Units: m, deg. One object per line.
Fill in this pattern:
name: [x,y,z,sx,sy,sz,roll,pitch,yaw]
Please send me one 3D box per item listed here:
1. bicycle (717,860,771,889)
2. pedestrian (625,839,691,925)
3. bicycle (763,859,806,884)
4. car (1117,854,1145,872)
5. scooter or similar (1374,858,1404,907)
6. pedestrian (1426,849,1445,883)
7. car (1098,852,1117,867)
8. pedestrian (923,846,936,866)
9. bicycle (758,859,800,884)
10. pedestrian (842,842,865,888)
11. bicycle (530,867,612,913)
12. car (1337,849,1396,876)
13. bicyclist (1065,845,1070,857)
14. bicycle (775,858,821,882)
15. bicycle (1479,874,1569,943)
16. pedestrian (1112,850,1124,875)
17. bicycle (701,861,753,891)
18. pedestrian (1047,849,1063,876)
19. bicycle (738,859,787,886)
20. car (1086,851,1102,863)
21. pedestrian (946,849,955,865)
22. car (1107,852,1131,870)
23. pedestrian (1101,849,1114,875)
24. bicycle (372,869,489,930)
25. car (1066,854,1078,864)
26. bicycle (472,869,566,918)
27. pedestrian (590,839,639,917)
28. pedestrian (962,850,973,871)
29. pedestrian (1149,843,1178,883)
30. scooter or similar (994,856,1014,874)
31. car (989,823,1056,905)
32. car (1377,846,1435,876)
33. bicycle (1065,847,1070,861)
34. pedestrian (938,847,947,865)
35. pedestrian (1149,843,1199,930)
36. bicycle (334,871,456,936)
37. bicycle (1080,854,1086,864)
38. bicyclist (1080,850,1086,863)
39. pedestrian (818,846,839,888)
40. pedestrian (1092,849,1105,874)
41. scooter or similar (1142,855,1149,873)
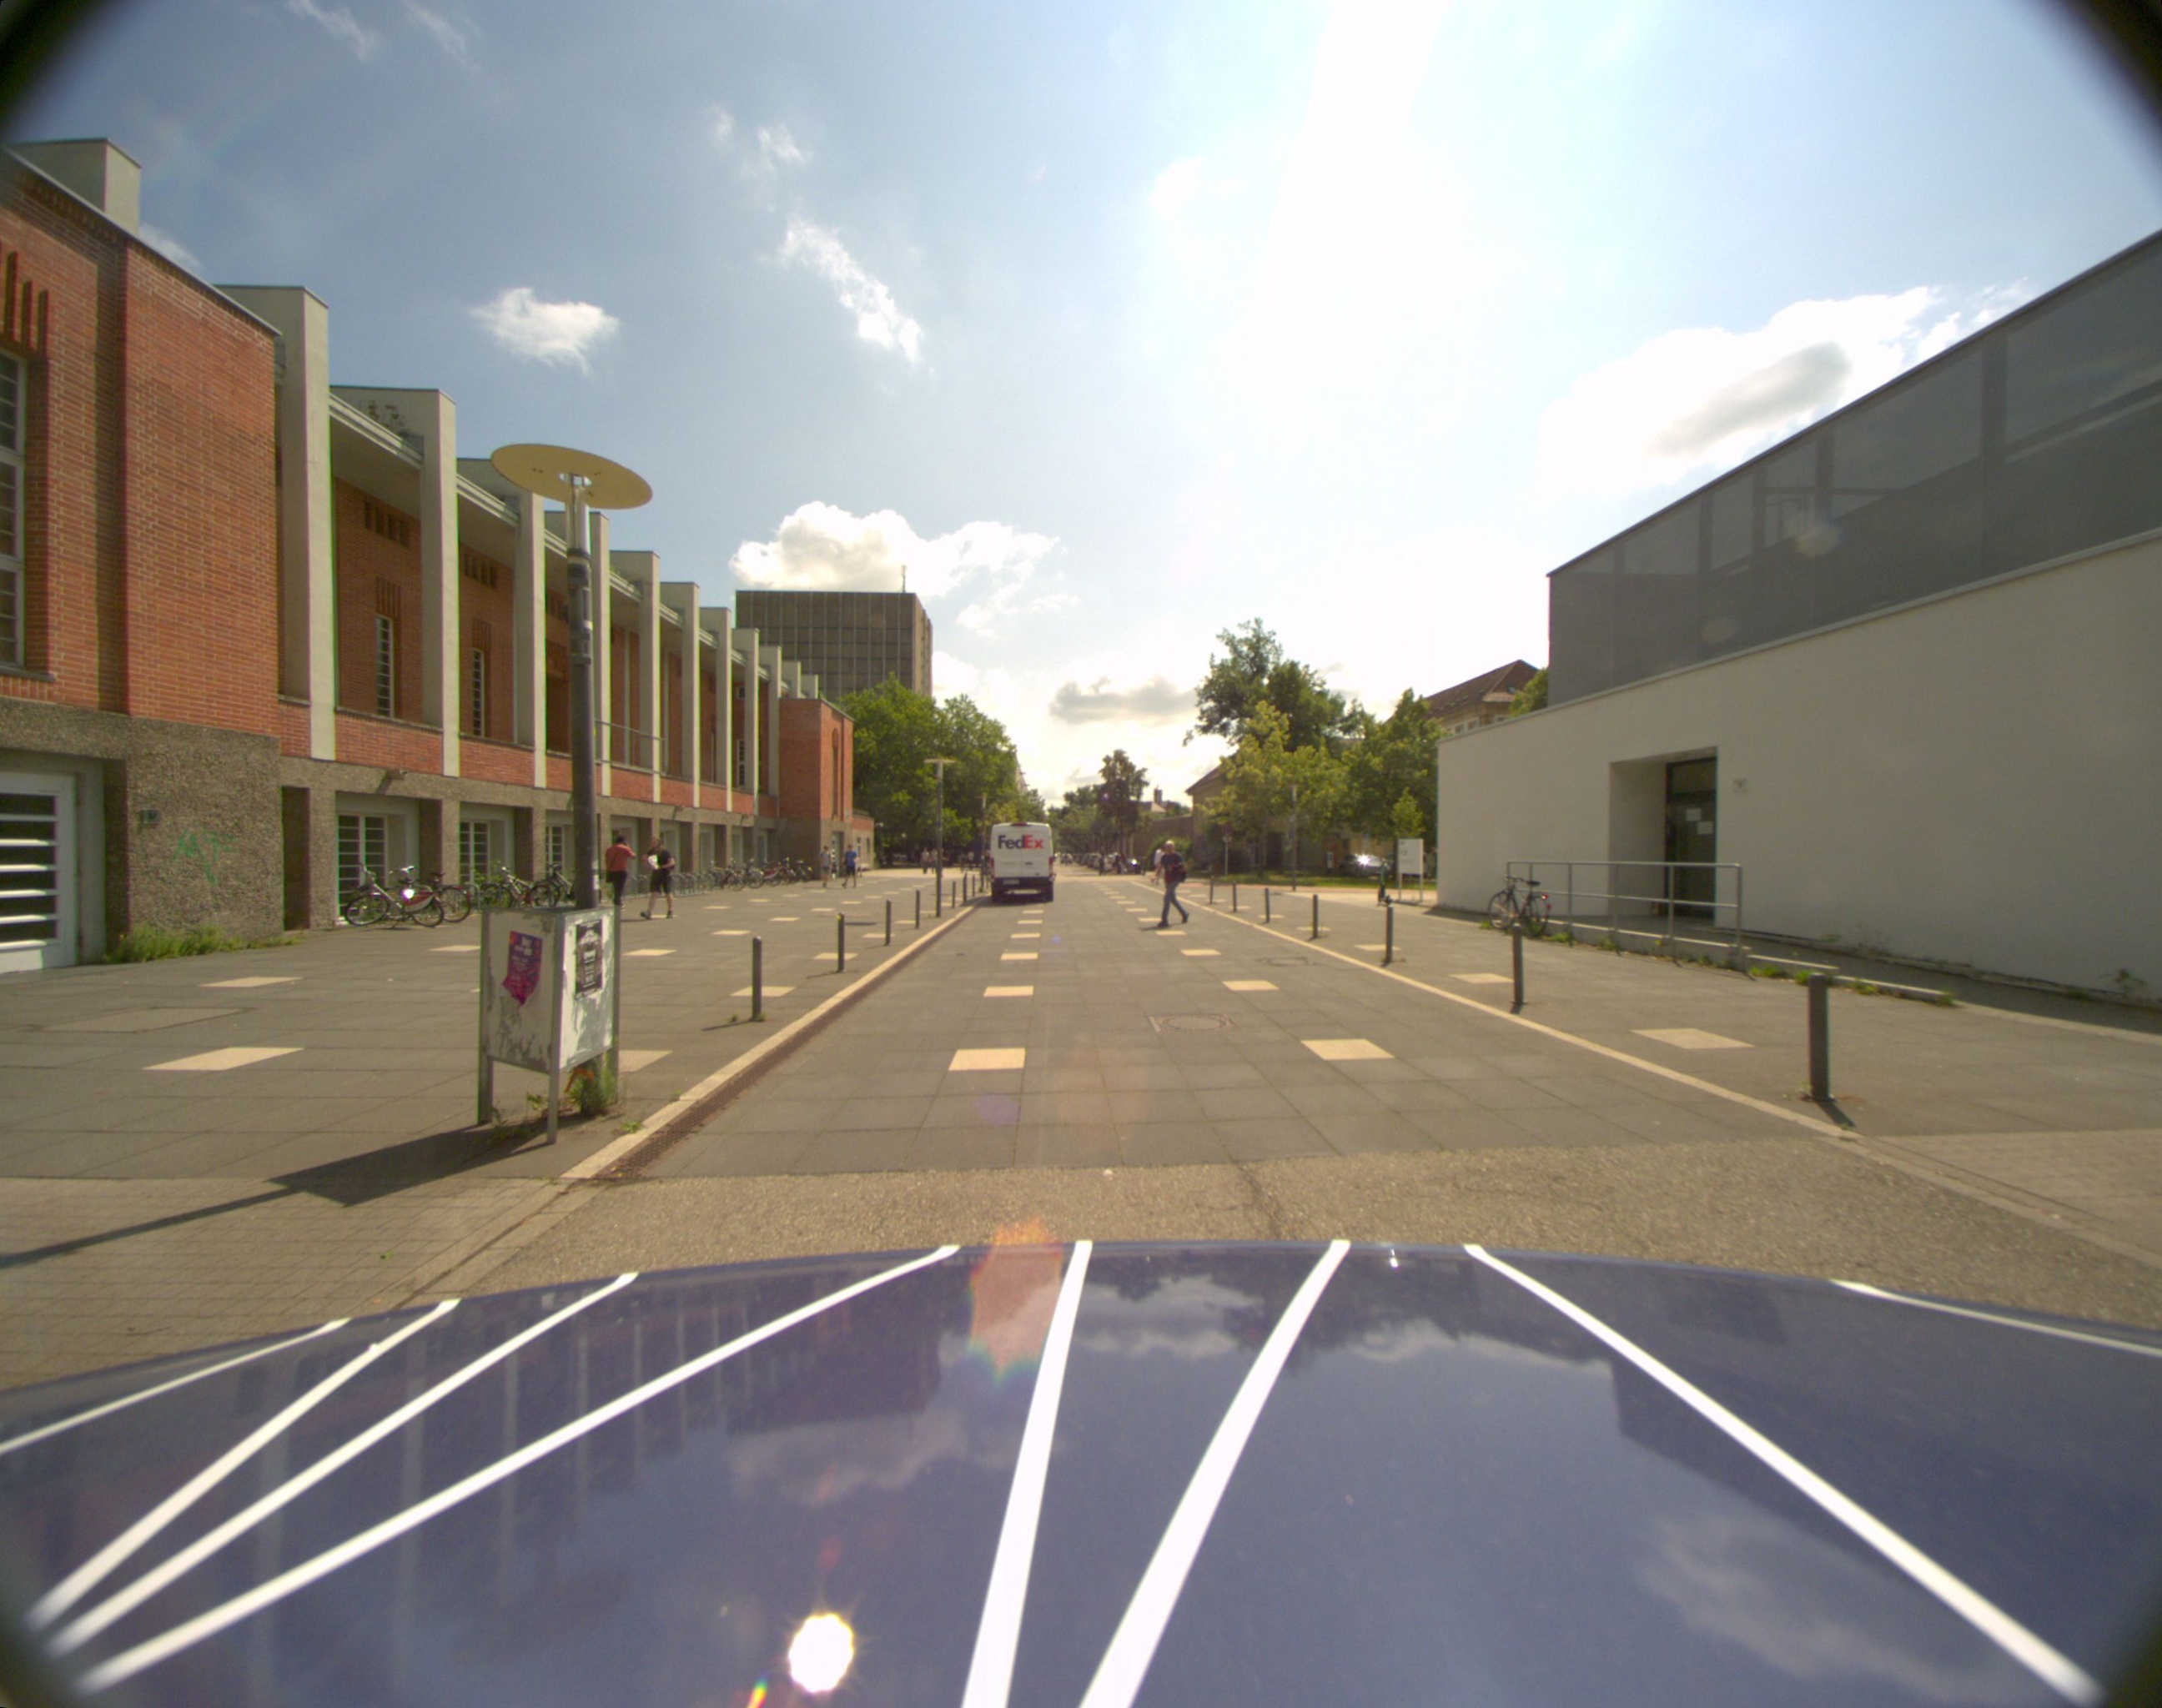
bicycle: [-13.124,0.788,29.612,1.917,1.103,0.435,0,1,-4]
pedestrian: [-9.268,0.585,16.698,0.846,1.823,1.196,0,1,-7]
bicycle: [-13.168,0.767,33.749,1.699,1.103,0.435,0,1,-4]
car: [3.625,0.650,55.694,1.701,1.287,3.761,0,0,-1]
scooter or similar: [8.222,0.747,20.322,0.483,1.256,1.314,0,1,10]
pedestrian: [19.016,0.626,40.730,0.870,1.778,0.637,1,5,25]
car: [2.627,0.531,76.218,1.718,1.424,3.999,0,0,-1]
pedestrian: [-14.992,0.153,75.125,0.984,1.935,0.976,-2,2,-24]
bicycle: [-13.131,0.757,33.053,1.655,1.103,0.435,0,1,-4]
pedestrian: [-9.535,0.457,31.843,0.666,1.879,1.109,1,1,-4]
bicycle: [-12.573,0.876,18.746,1.687,1.103,0.435,0,1,-4]
car: [18.619,0.509,49.850,1.899,1.572,4.647,0,2,-3]
bicyclist: [-1.652,-0.362,94.193,0.588,1.444,1.233,0,1,-4]
bicycle: [-13.240,0.744,35.554,1.935,1.103,0.456,0,1,-4]
bicycle: [7.683,0.916,13.275,0.544,1.055,1.899,0,0,3]
pedestrian: [2.546,0.571,52.383,0.558,1.706,0.971,0,1,-14]
bicycle: [-13.008,0.808,27.941,1.687,1.103,0.435,0,1,-4]
pedestrian: [-1.711,0.562,49.916,0.870,1.776,0.570,1,0,30]
bicycle: [-13.164,0.763,31.424,1.802,1.103,0.435,0,1,-4]
car: [1.740,0.378,103.055,1.933,1.624,4.371,0,0,-1]
pedestrian: [-12.991,0.293,75.614,0.752,1.663,0.844,0,0,-24]
car: [3.047,0.575,62.217,1.635,1.423,3.632,0,0,-2]
pedestrian: [1.820,0.554,52.258,0.727,1.776,0.899,0,1,-15]
bicycle: [-12.645,0.878,14.800,1.758,1.143,0.517,0,1,-4]
car: [-1.502,0.827,124.321,1.933,1.624,4.371,0,0,-1]
bicycle: [-12.728,0.890,17.239,1.752,1.103,0.435,0,1,-4]
pedestrian: [-11.251,0.562,18.341,0.665,1.823,0.905,0,1,-7]
pedestrian: [-9.142,0.519,61.017,0.785,1.666,1.078,1,1,-5]
pedestrian: [3.891,0.411,35.876,1.022,1.837,0.918,2,1,28]
scooter or similar: [-5.459,0.767,54.076,1.352,1.223,0.577,1,0,33]
car: [-2.014,0.291,26.415,2.065,2.528,5.847,0,0,-4]
car: [21.175,0.437,49.699,1.812,1.776,4.122,0,2,-3]
bicycle: [-1.647,-0.032,94.158,0.588,1.670,1.758,0,1,-4]
pedestrian: [-13.720,0.214,75.281,0.782,1.781,0.713,0,0,-22]
pedestrian: [1.983,0.665,16.324,0.826,1.807,1.143,0,1,-7]
bicycle: [-12.509,0.897,13.878,1.758,1.143,0.435,0,1,-4]
bicycle: [0.262,0.607,94.729,0.626,1.135,1.811,0,0,-4]
bicyclist: [0.254,0.288,94.783,0.630,1.597,1.328,0,1,-4]
pedestrian: [-10.562,0.537,31.760,0.586,1.697,1.001,1,1,-4]
pedestrian: [1.190,0.489,51.762,0.622,1.706,1.004,0,0,-14]
scooter or similar: [4.396,0.695,51.926,0.470,1.209,1.205,0,1,3]
